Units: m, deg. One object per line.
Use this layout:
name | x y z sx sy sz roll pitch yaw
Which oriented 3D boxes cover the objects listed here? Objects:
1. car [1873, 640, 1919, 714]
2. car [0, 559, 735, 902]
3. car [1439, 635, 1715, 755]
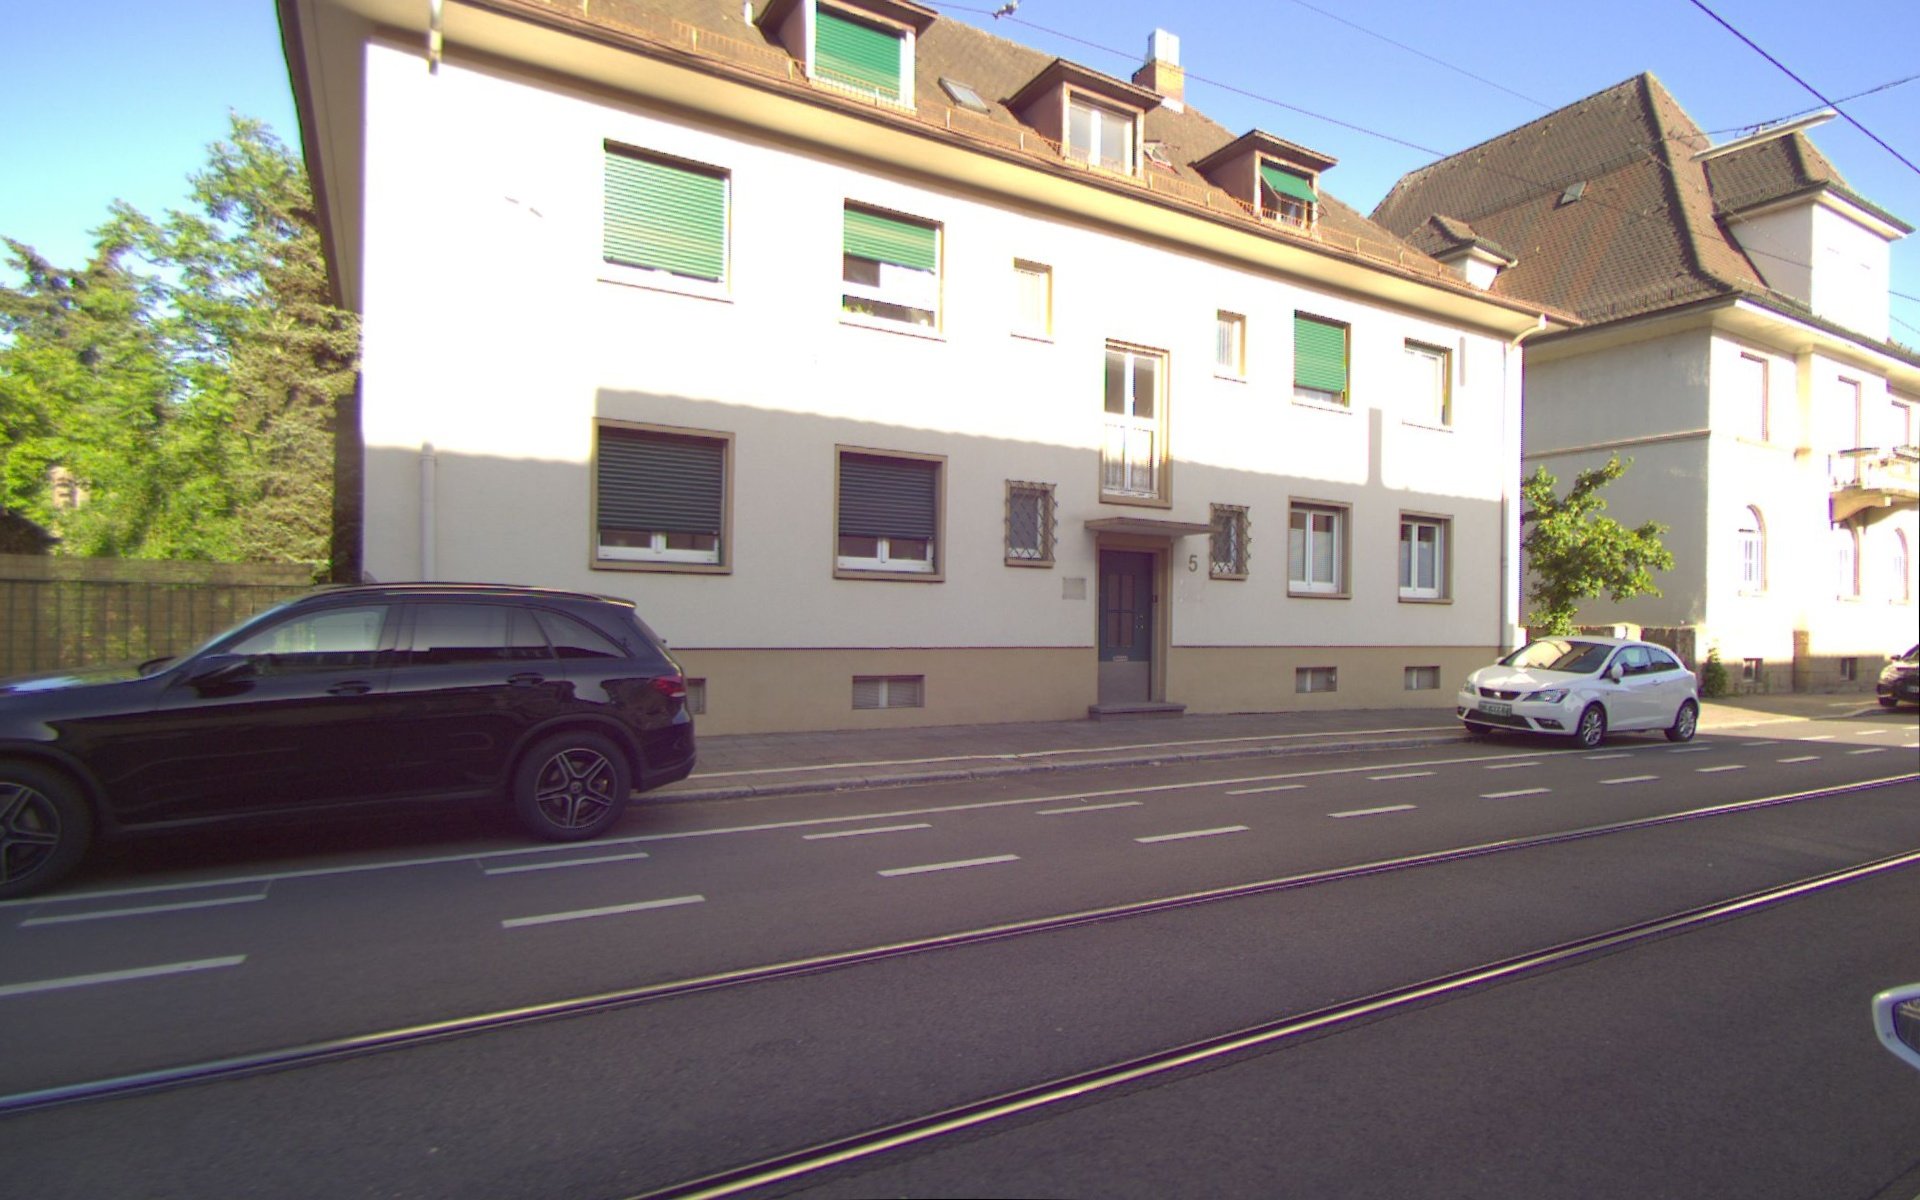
car | 21.370 1.628 21.603 4.207 1.496 1.652 2 -1 -34
car | -3.954 0.728 6.643 4.504 1.727 1.753 2 -3 -31
car | 8.694 1.249 14.097 3.968 1.476 1.624 2 -3 -30
